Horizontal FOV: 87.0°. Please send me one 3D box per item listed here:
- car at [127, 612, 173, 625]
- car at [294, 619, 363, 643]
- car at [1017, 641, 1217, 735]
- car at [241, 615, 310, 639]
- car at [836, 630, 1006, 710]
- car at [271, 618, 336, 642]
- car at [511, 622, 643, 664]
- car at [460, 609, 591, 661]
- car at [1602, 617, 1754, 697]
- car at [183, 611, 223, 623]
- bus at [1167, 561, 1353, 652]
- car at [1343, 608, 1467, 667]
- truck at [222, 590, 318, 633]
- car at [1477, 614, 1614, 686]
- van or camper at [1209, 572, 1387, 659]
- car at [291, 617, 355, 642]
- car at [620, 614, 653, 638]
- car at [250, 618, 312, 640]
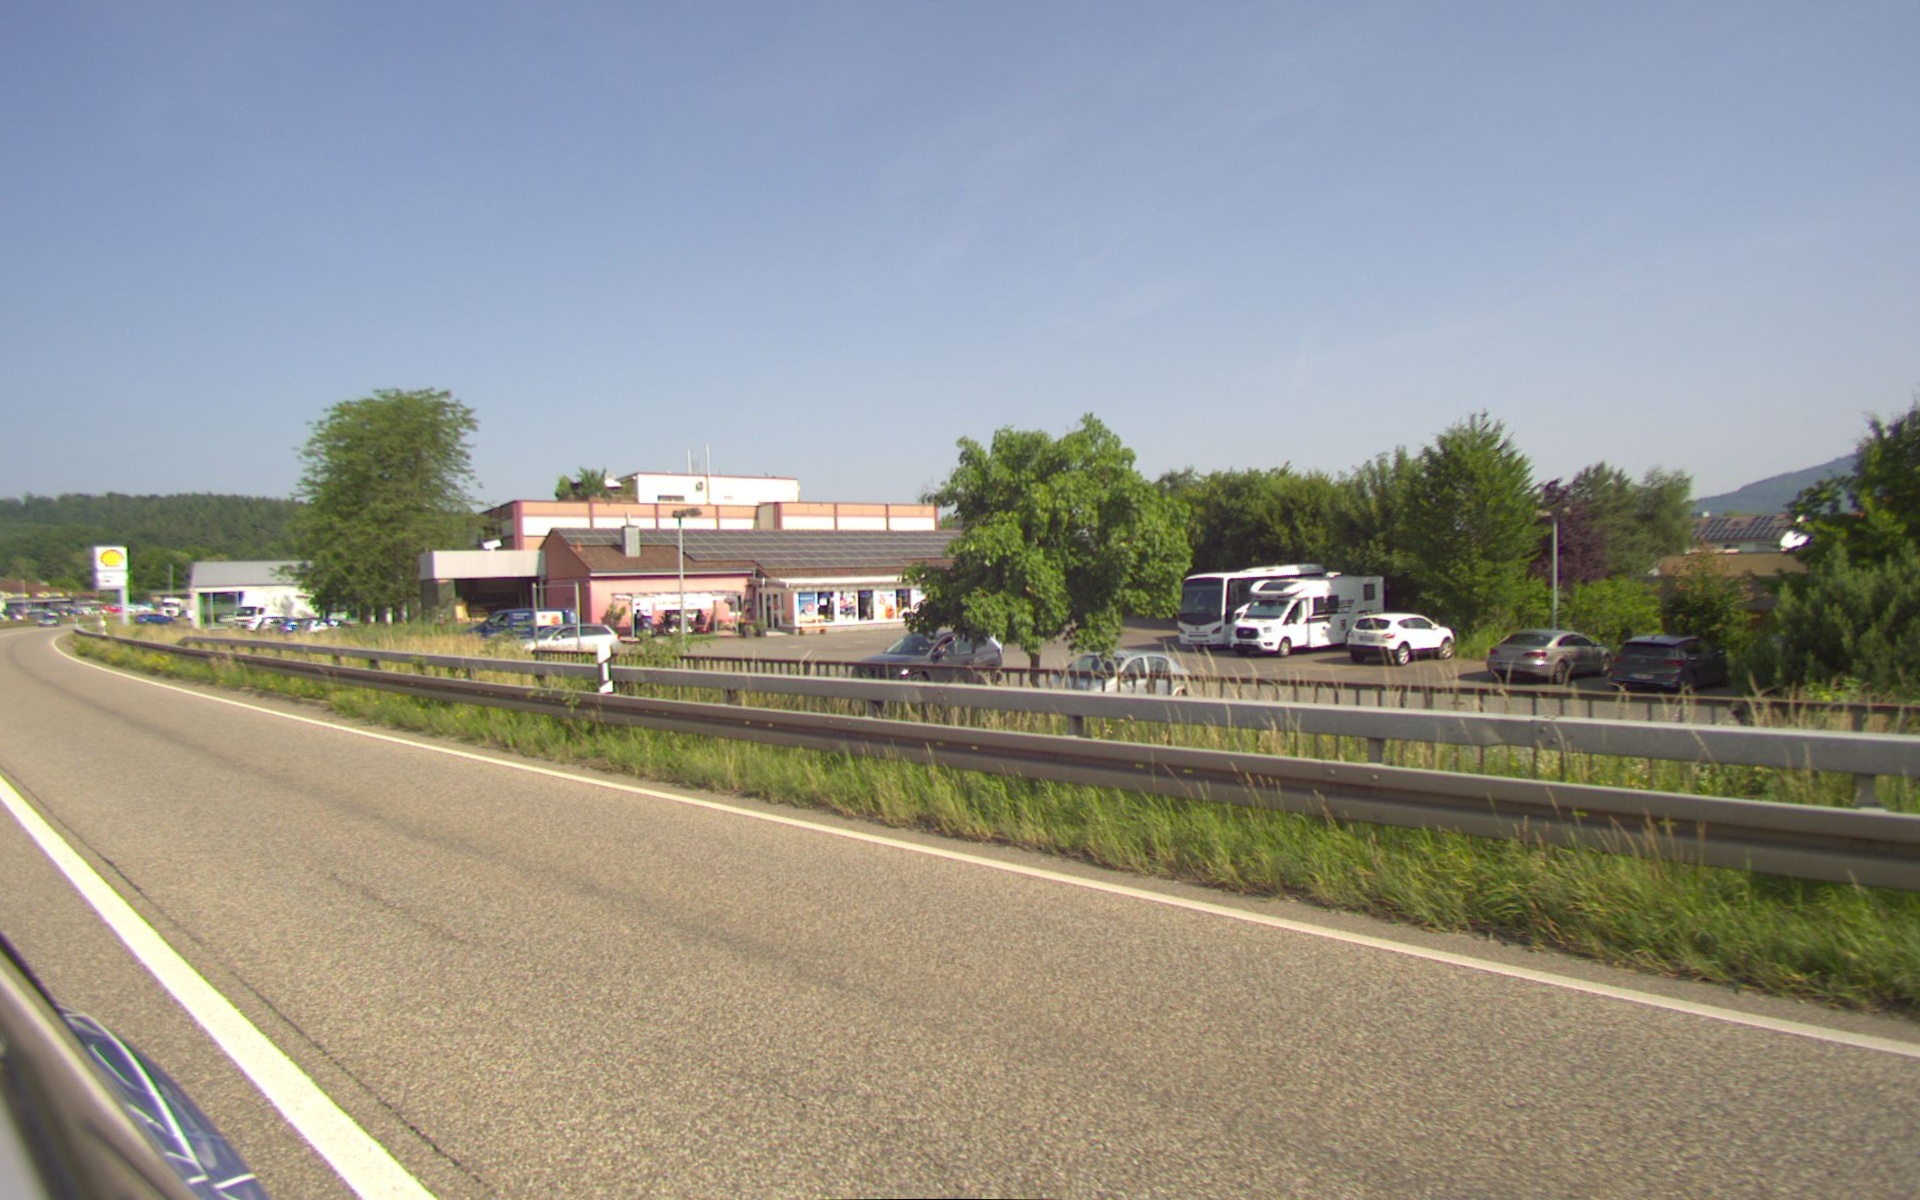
[{"bbox_3d":[-101.400,2.317,126.776,1.967,1.518,4.212,-1,0,15],"label":"car"},{"bbox_3d":[-42.932,2.090,68.831,3.702,1.471,1.864,-1,0,-42],"label":"car"},{"bbox_3d":[3.279,1.695,20.616,4.250,1.516,1.875,-1,0,-45],"label":"car"},{"bbox_3d":[-55.178,2.145,81.606,4.300,1.667,1.933,-3,1,-44],"label":"car"},{"bbox_3d":[-0.899,1.677,25.480,1.873,1.678,4.254,-1,0,41],"label":"car"},{"bbox_3d":[-47.388,2.155,73.081,3.702,1.511,1.934,-2,1,-42],"label":"car"},{"bbox_3d":[-14.910,1.642,39.634,1.742,1.392,4.568,-1,0,41],"label":"car"},{"bbox_3d":[-18.405,1.441,43.084,4.825,2.029,2.005,-1,0,-11],"label":"car"},{"bbox_3d":[19.029,1.427,26.771,4.497,1.646,1.867,-2,3,-35],"label":"car"},{"bbox_3d":[-104.503,2.361,139.723,1.880,1.413,4.211,-1,1,15],"label":"car"},{"bbox_3d":[12.779,0.196,42.568,8.983,3.380,2.670,-3,-1,-38],"label":"bus"},{"bbox_3d":[14.926,1.201,33.846,4.500,1.645,1.865,-3,1,-38],"label":"car"},{"bbox_3d":[-62.058,0.937,91.282,2.768,3.583,8.208,-2,1,2],"label":"truck"},{"bbox_3d":[16.793,1.353,28.931,4.500,1.646,1.866,-3,3,-38],"label":"car"},{"bbox_3d":[12.836,0.465,38.115,7.300,2.863,2.753,-3,1,-38],"label":"van or camper"},{"bbox_3d":[-44.873,2.078,71.320,3.698,1.511,1.862,-2,1,-35],"label":"car"},{"bbox_3d":[-16.325,1.306,51.073,0.804,1.154,2.019,-1,1,-42],"label":"car"},{"bbox_3d":[-53.330,2.249,79.499,3.704,1.511,1.934,-3,1,-44],"label":"car"}]
